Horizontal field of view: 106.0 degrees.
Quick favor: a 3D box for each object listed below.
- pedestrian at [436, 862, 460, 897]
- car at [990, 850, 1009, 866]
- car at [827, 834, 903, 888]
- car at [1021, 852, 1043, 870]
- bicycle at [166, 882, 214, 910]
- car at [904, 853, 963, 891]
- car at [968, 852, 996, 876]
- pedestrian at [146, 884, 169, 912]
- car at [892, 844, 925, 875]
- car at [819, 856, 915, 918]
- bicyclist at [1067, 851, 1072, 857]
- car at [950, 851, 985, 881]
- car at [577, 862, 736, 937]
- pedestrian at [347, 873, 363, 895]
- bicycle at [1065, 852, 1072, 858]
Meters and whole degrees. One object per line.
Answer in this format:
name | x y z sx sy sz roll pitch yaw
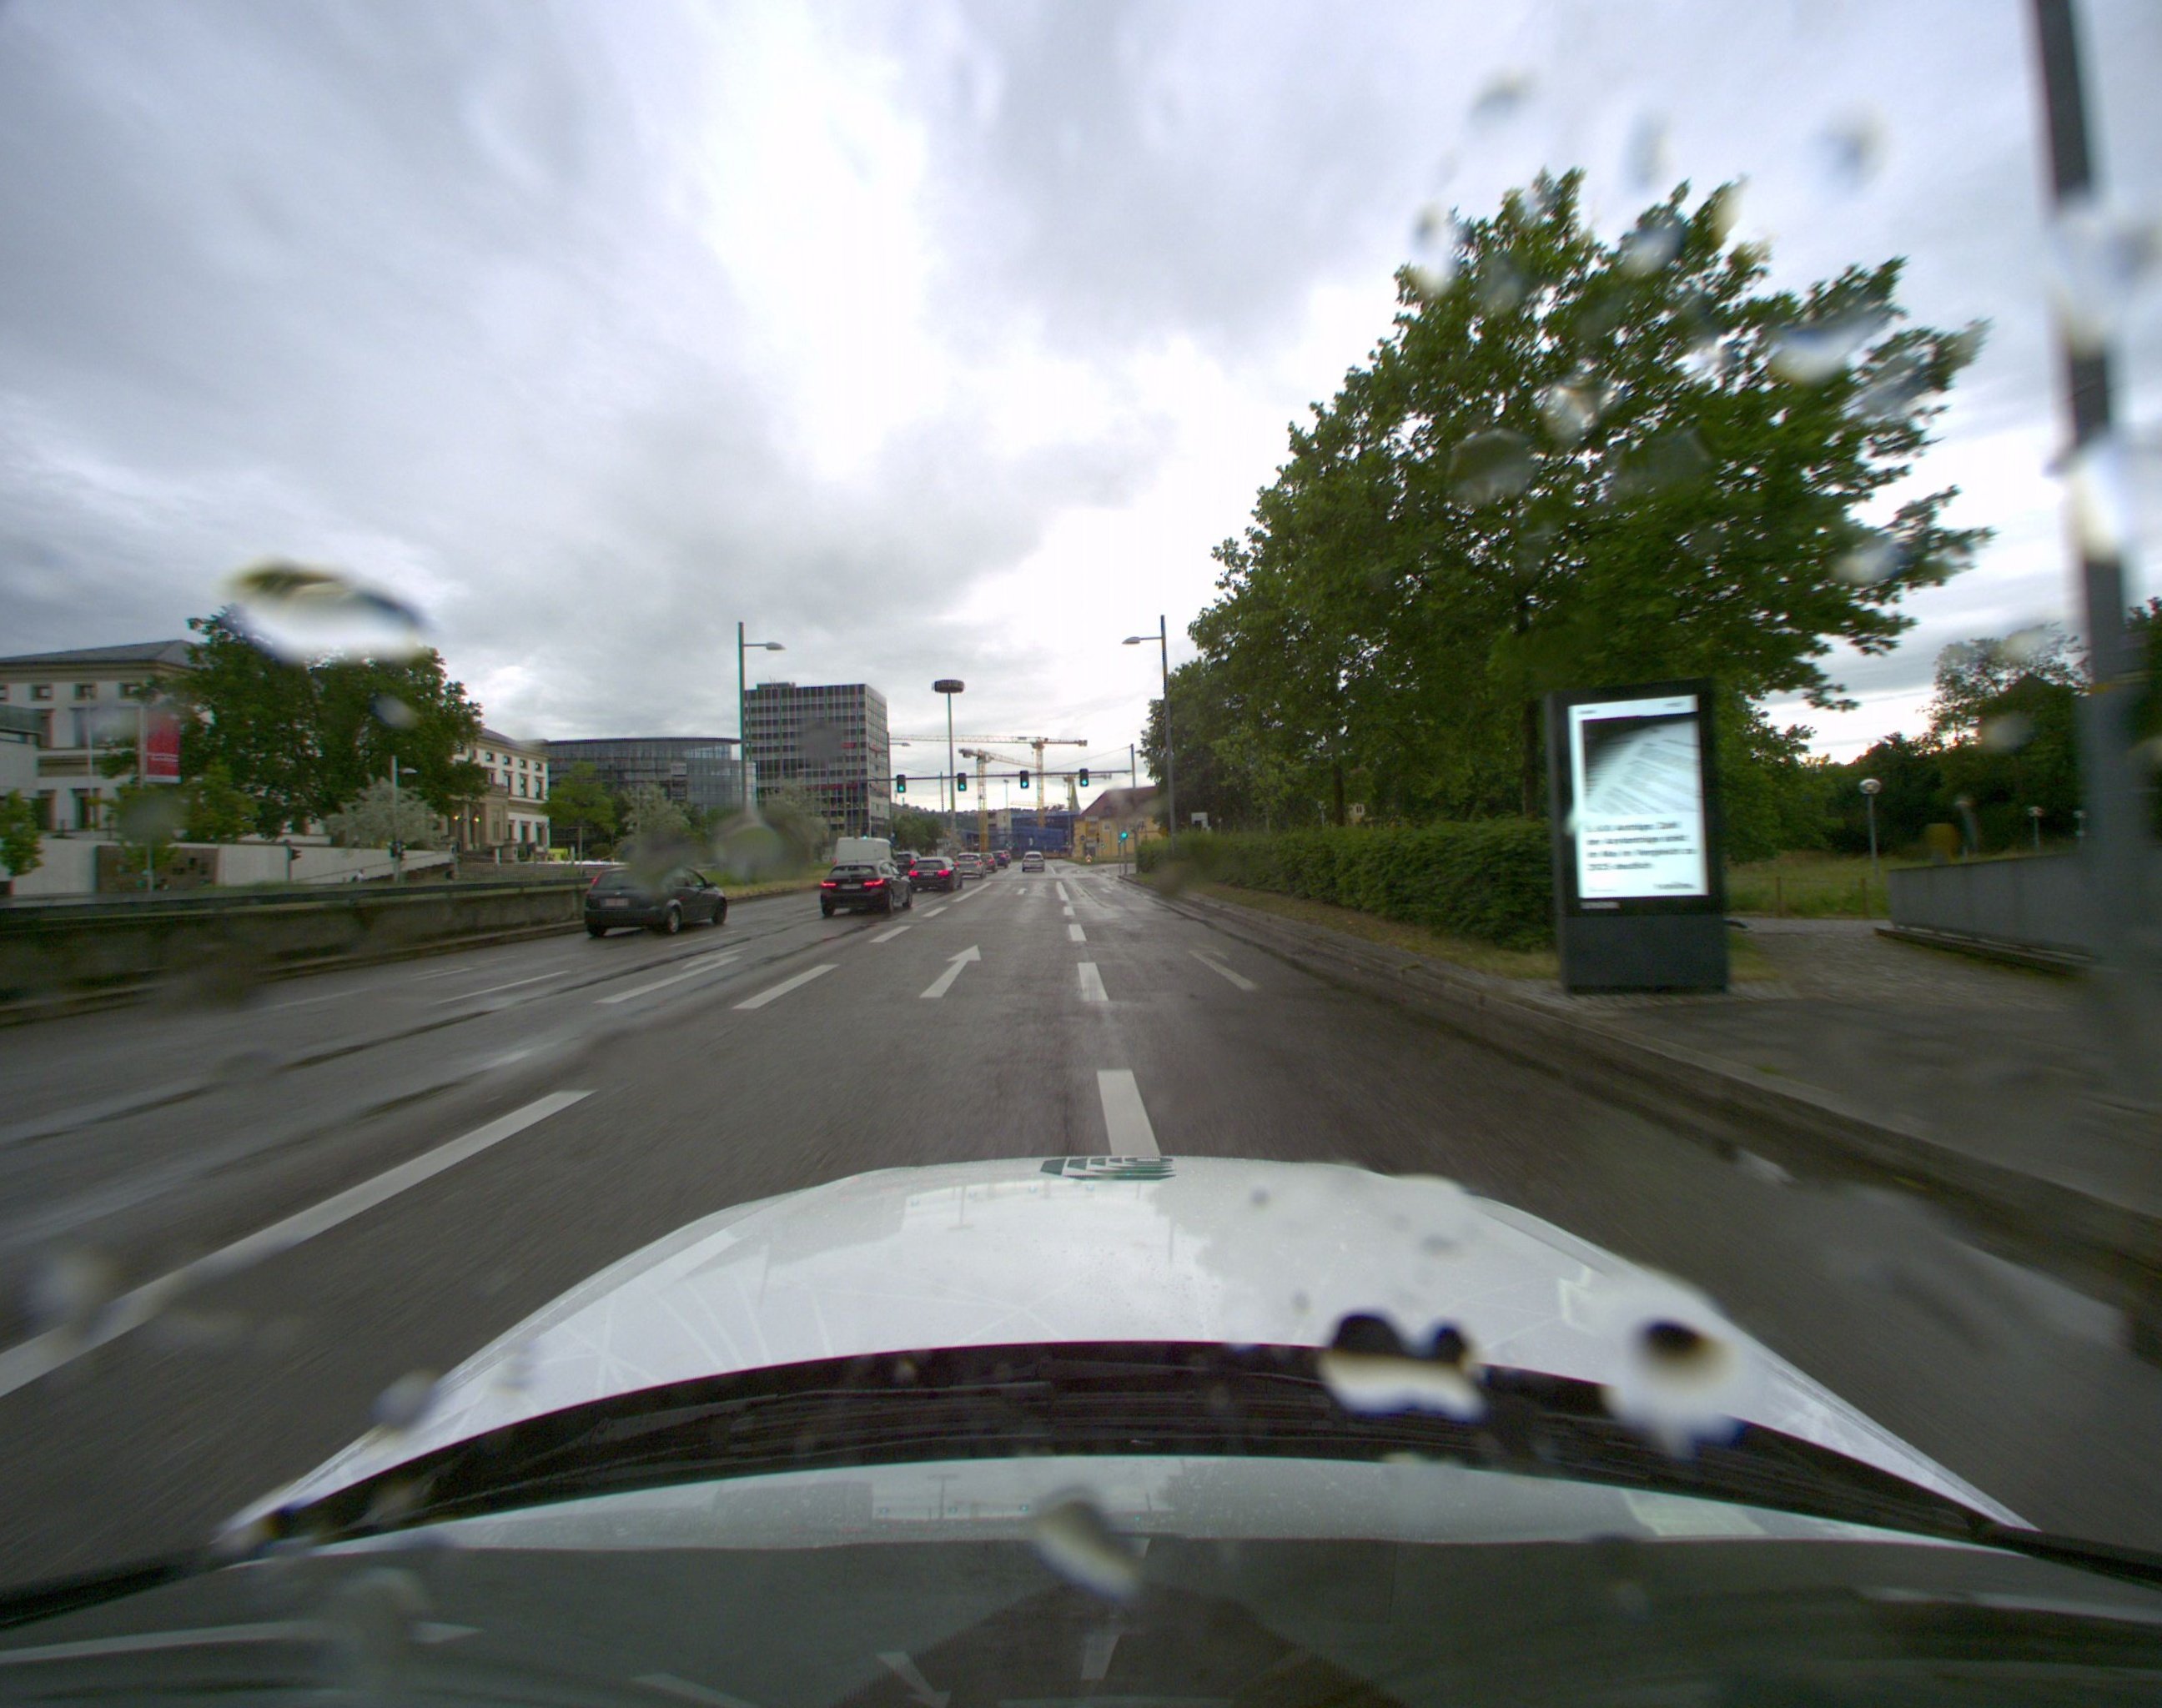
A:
pedestrian | -39.555 1.590 50.930 0.763 2.090 0.727 0 4 4
car | -7.365 0.354 74.010 1.489 1.369 3.030 -1 -1 -2
car | -9.956 0.343 37.940 2.286 2.314 5.002 -1 -1 -1
car | -3.755 0.542 62.398 1.439 1.359 2.412 -1 -1 1
bicycle | -43.479 2.059 39.740 1.480 1.307 0.554 -1 -2 -17
car | -6.157 0.756 34.380 1.824 1.495 3.398 -1 -1 0
car | -7.353 0.758 60.786 1.711 1.727 3.491 -1 -1 -2
pedestrian | -45.384 2.153 40.040 0.464 1.383 0.579 -1 -1 12
car | -9.960 0.343 47.194 1.461 1.706 3.136 -1 -1 -4
car | -5.839 0.830 22.725 1.749 1.471 4.218 -1 1 -3
bicyclist | -2.244 0.034 161.554 0.705 1.275 0.631 0 -2 -18
car | -6.752 0.728 48.738 1.877 1.653 3.452 -1 -1 -5
car | -9.069 0.918 17.771 1.538 1.415 3.898 -1 -1 -2
pedestrian | -46.452 1.920 52.099 0.487 1.423 0.637 -2 -2 26
bicycle | -2.434 0.184 161.912 0.882 1.010 1.981 0 -1 -17
